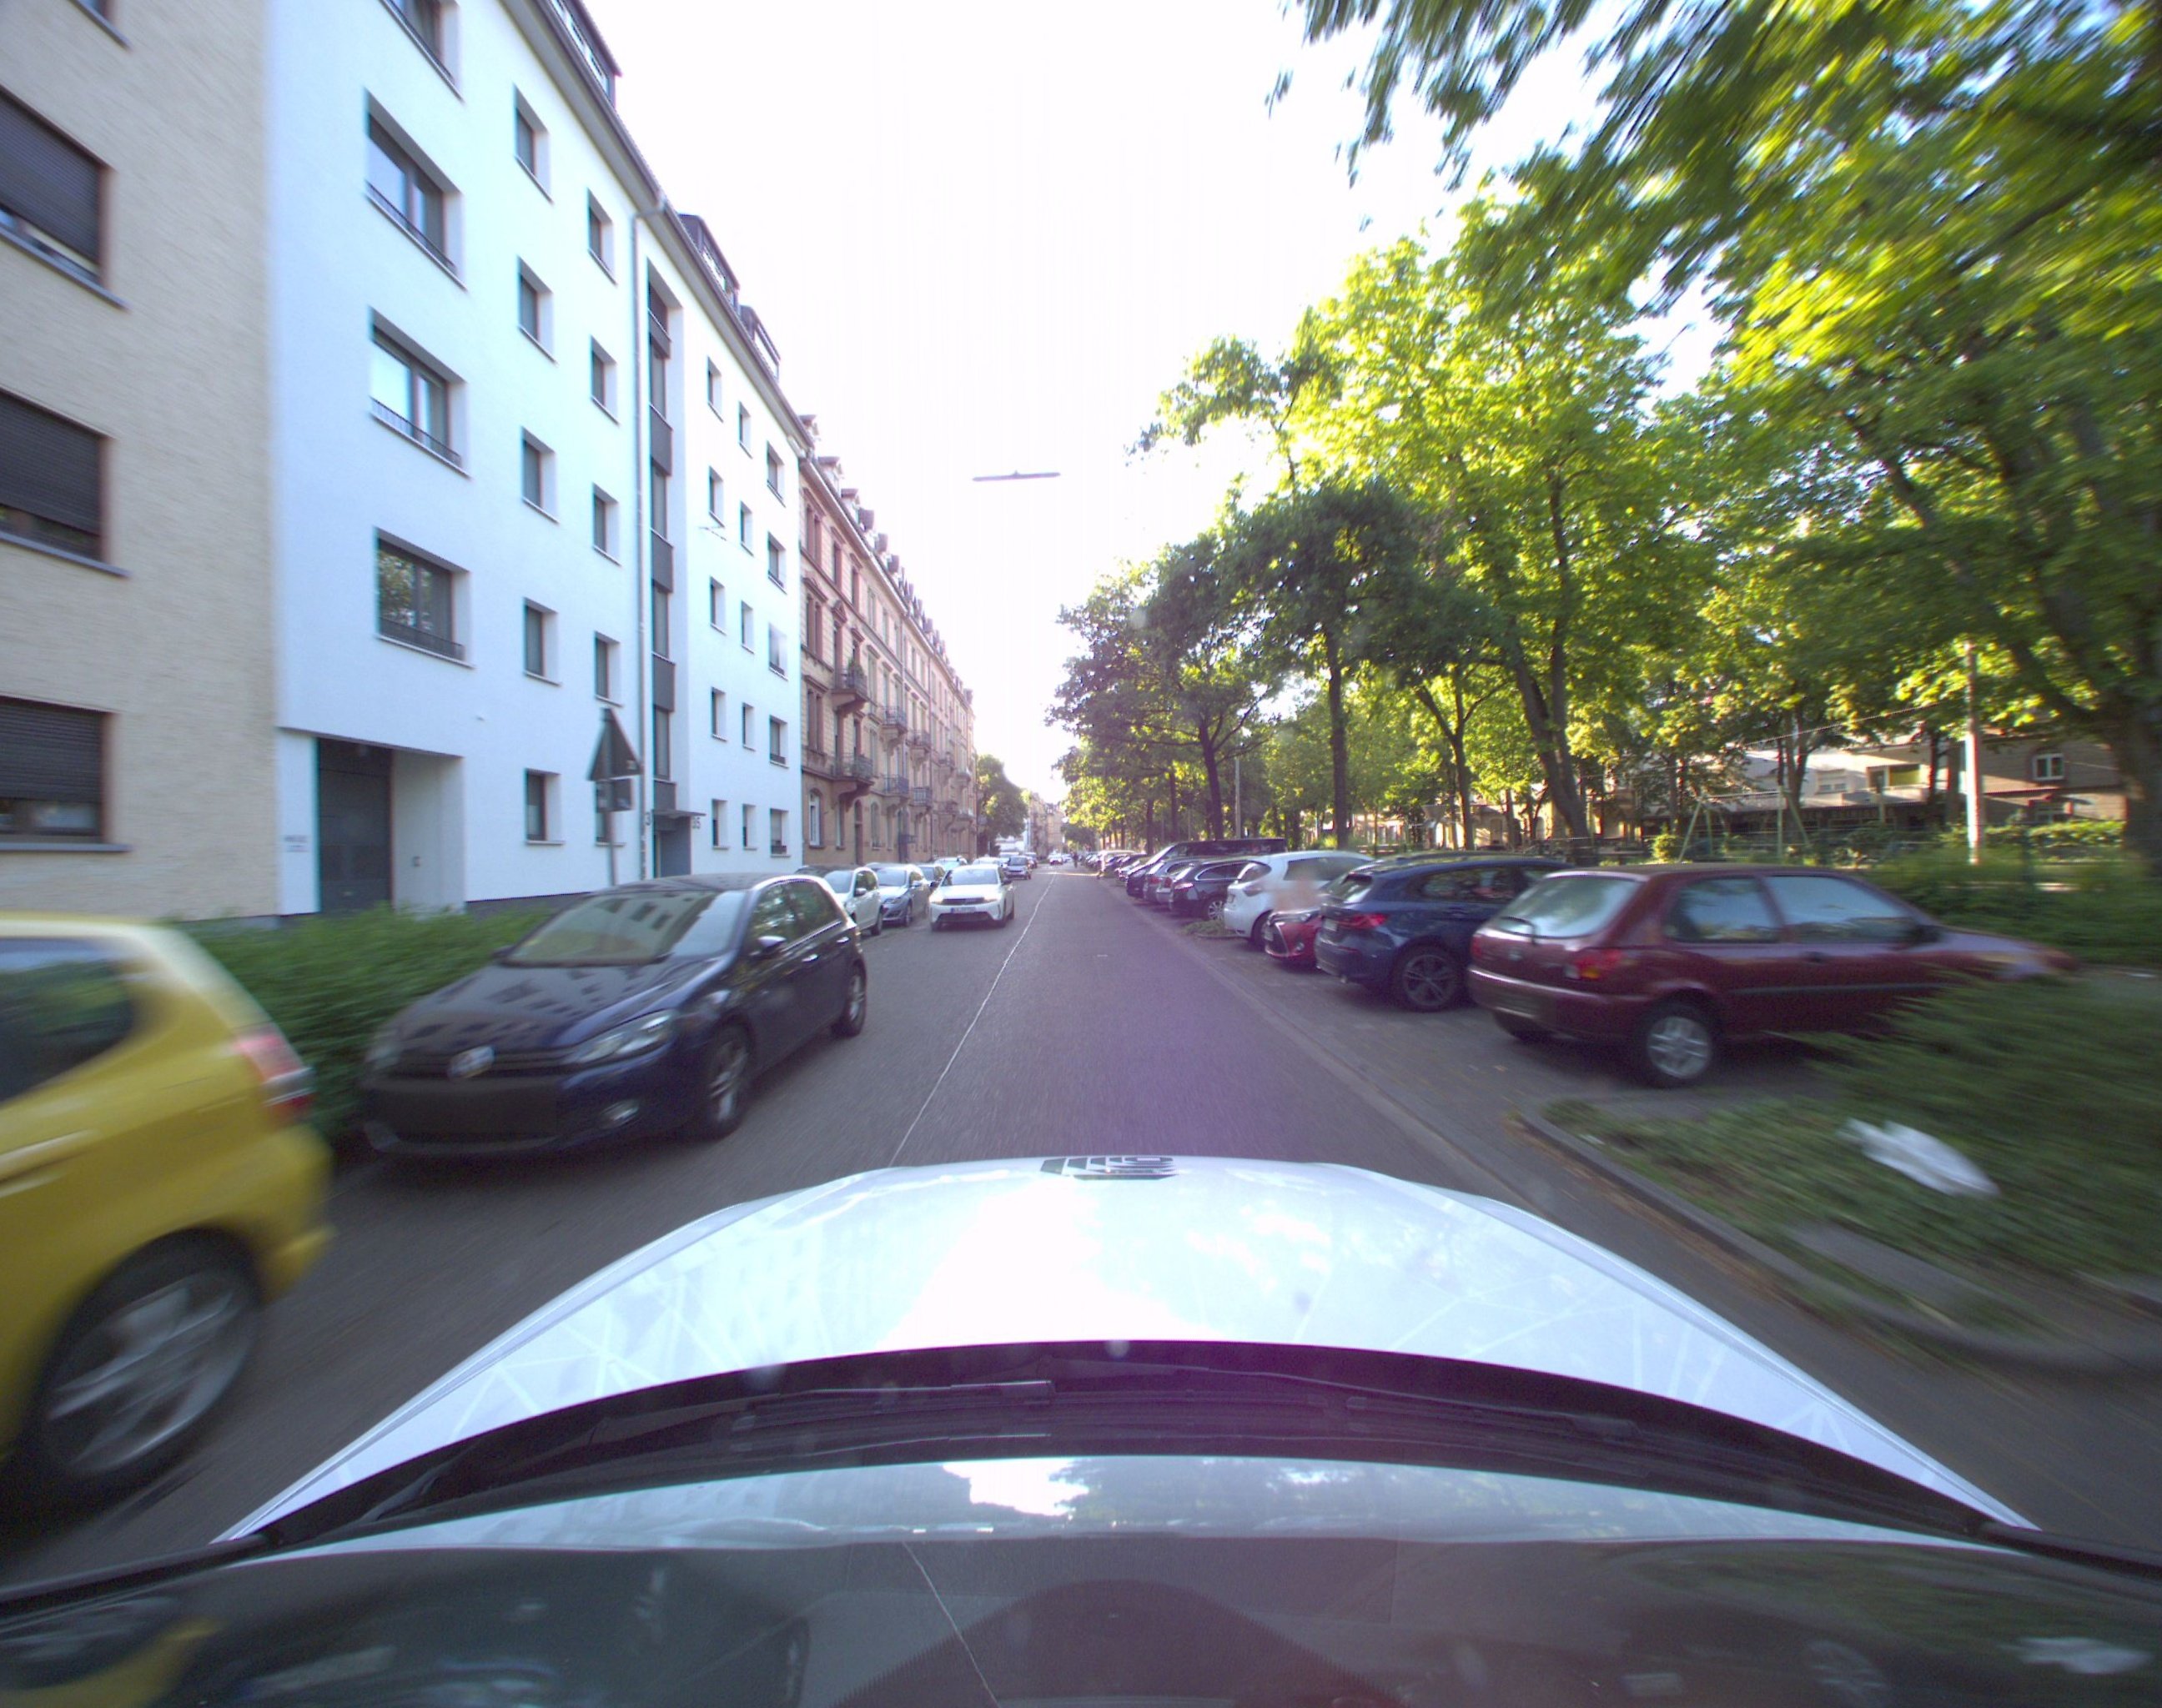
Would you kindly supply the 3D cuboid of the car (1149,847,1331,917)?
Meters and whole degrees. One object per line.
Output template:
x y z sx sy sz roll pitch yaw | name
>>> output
4.045 0.726 21.167 4.384 1.577 1.664 -2 -2 1 | car

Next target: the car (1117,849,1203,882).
4.172 0.619 43.555 4.386 1.591 1.837 -2 -1 -1 | car

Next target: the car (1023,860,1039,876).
-6.547 1.820 106.916 1.952 2.018 4.265 0 0 -1 | car

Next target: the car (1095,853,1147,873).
3.382 0.766 68.370 4.202 1.453 1.650 -3 0 3 | car

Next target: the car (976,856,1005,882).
-5.688 0.928 50.905 1.745 1.546 4.141 0 0 -7 | car

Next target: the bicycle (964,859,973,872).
-10.382 1.081 75.474 0.703 1.147 1.886 0 -2 -4 | bicycle

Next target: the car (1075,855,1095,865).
0.863 1.304 172.118 3.962 2.014 2.005 0 -2 10 | car

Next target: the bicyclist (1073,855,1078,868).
-0.660 0.922 98.097 0.626 1.573 0.801 0 -2 -2 | bicyclist

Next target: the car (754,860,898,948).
-5.002 0.904 16.542 1.663 1.508 3.998 2 0 -1 | car

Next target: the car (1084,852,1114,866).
2.471 0.655 111.157 3.979 1.794 1.856 0 -2 -4 | car

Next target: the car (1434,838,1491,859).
32.515 -0.463 69.489 3.976 1.684 1.999 0 -2 -2 | car

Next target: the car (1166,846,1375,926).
4.168 0.727 18.465 4.380 1.577 1.666 -2 -2 3 | car

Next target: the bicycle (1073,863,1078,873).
-0.659 1.696 98.107 0.639 1.100 1.942 0 -2 -2 | bicycle

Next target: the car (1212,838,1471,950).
4.246 0.650 13.690 3.770 1.646 1.663 -2 -2 -1 | car

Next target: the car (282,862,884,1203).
-2.790 0.846 5.774 1.733 1.479 4.000 -2 0 0 | car

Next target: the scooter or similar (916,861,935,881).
-9.980 1.099 52.405 0.781 1.222 2.702 0 -2 -1 | scooter or similar

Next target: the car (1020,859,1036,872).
-6.568 1.408 101.385 1.751 1.466 4.265 0 0 -1 | car

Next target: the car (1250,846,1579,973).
4.373 0.722 11.110 3.768 1.474 1.664 -2 -2 1 | car

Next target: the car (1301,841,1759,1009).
4.379 0.699 8.439 3.765 1.447 1.666 -2 -2 4 | car

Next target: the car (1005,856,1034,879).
-4.116 0.902 54.779 1.498 1.435 2.755 -2 0 3 | car

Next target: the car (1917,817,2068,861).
46.444 -0.679 41.639 2.001 2.014 4.704 1 -2 -21 | car

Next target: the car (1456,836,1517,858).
33.017 -0.561 66.388 3.976 1.684 1.999 0 -2 -2 | car

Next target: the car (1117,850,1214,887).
3.969 0.684 38.774 4.388 1.591 1.836 -2 -1 -2 | car

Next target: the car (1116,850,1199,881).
4.289 0.655 46.159 4.394 1.591 1.834 -2 -1 -6 | car

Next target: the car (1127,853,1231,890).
4.279 0.765 36.024 4.384 1.440 1.838 -2 -1 1 | car

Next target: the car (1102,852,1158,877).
3.329 0.690 55.897 3.663 1.501 1.761 -3 0 -1 | car

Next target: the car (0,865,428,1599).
-3.108 0.811 0.935 1.698 1.525 3.771 -2 0 -1 | car

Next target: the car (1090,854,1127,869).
3.019 0.831 90.883 3.979 1.548 1.856 0 -2 -4 | car

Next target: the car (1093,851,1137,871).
3.176 0.666 76.335 3.974 1.691 1.859 -3 0 -1 | car

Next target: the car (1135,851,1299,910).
3.884 0.766 23.782 4.391 1.501 1.835 -2 -2 -4 | car

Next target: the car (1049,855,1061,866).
-3.768 0.975 119.017 1.664 1.464 3.997 -2 0 -2 | car

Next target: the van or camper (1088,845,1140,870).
3.245 0.377 80.901 4.970 2.377 2.182 0 -2 -3 | van or camper

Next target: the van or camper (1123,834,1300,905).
4.113 0.480 26.333 5.394 2.027 2.030 -2 0 1 | van or camper

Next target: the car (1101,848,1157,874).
3.756 0.547 63.933 4.207 1.864 1.761 -3 0 -1 | car

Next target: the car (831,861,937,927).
-4.972 0.952 21.102 1.663 1.471 4.283 2 0 0 | car

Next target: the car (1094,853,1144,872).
3.278 0.739 71.262 4.207 1.453 1.864 -3 0 -1 | car

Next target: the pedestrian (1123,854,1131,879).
2.864 0.796 50.629 0.377 1.516 0.521 -1 2 18 | pedestrian

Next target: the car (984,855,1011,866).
-13.082 0.973 127.440 3.974 1.706 1.999 0 -2 0 | car

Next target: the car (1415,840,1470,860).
31.997 -0.379 72.177 3.976 1.684 1.999 0 -2 -2 | car

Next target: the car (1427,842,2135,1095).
4.806 0.708 5.955 3.776 1.401 1.763 -2 -2 -5 | car

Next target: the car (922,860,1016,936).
-2.595 0.974 19.690 1.663 1.430 3.999 -4 1 0 | car

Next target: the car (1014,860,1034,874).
-6.479 1.467 92.730 1.750 1.466 4.269 0 0 2 | car

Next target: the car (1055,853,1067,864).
-3.539 0.760 143.260 1.988 1.838 3.996 0 -2 -2 | car

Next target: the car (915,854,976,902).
-5.154 0.862 31.488 1.747 1.706 4.198 0 0 -1 | car

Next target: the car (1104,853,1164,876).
3.756 0.740 58.393 4.073 1.442 1.759 -3 0 -4 | car

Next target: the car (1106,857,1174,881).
3.463 0.868 48.045 3.833 1.279 1.689 -2 0 -2 | car

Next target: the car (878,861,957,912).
-5.172 0.975 26.201 1.610 1.452 4.001 1 0 1 | car

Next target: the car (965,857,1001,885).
-5.513 0.953 46.258 1.749 1.464 3.996 1 0 -3 | car

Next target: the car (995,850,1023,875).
-5.758 0.742 66.034 1.988 1.921 5.035 0 -2 -2 | car

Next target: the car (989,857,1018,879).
-5.713 0.996 60.414 1.669 1.454 4.209 -2 0 0 | car

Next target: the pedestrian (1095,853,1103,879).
1.142 0.754 51.877 0.377 1.584 0.521 -1 2 18 | pedestrian
